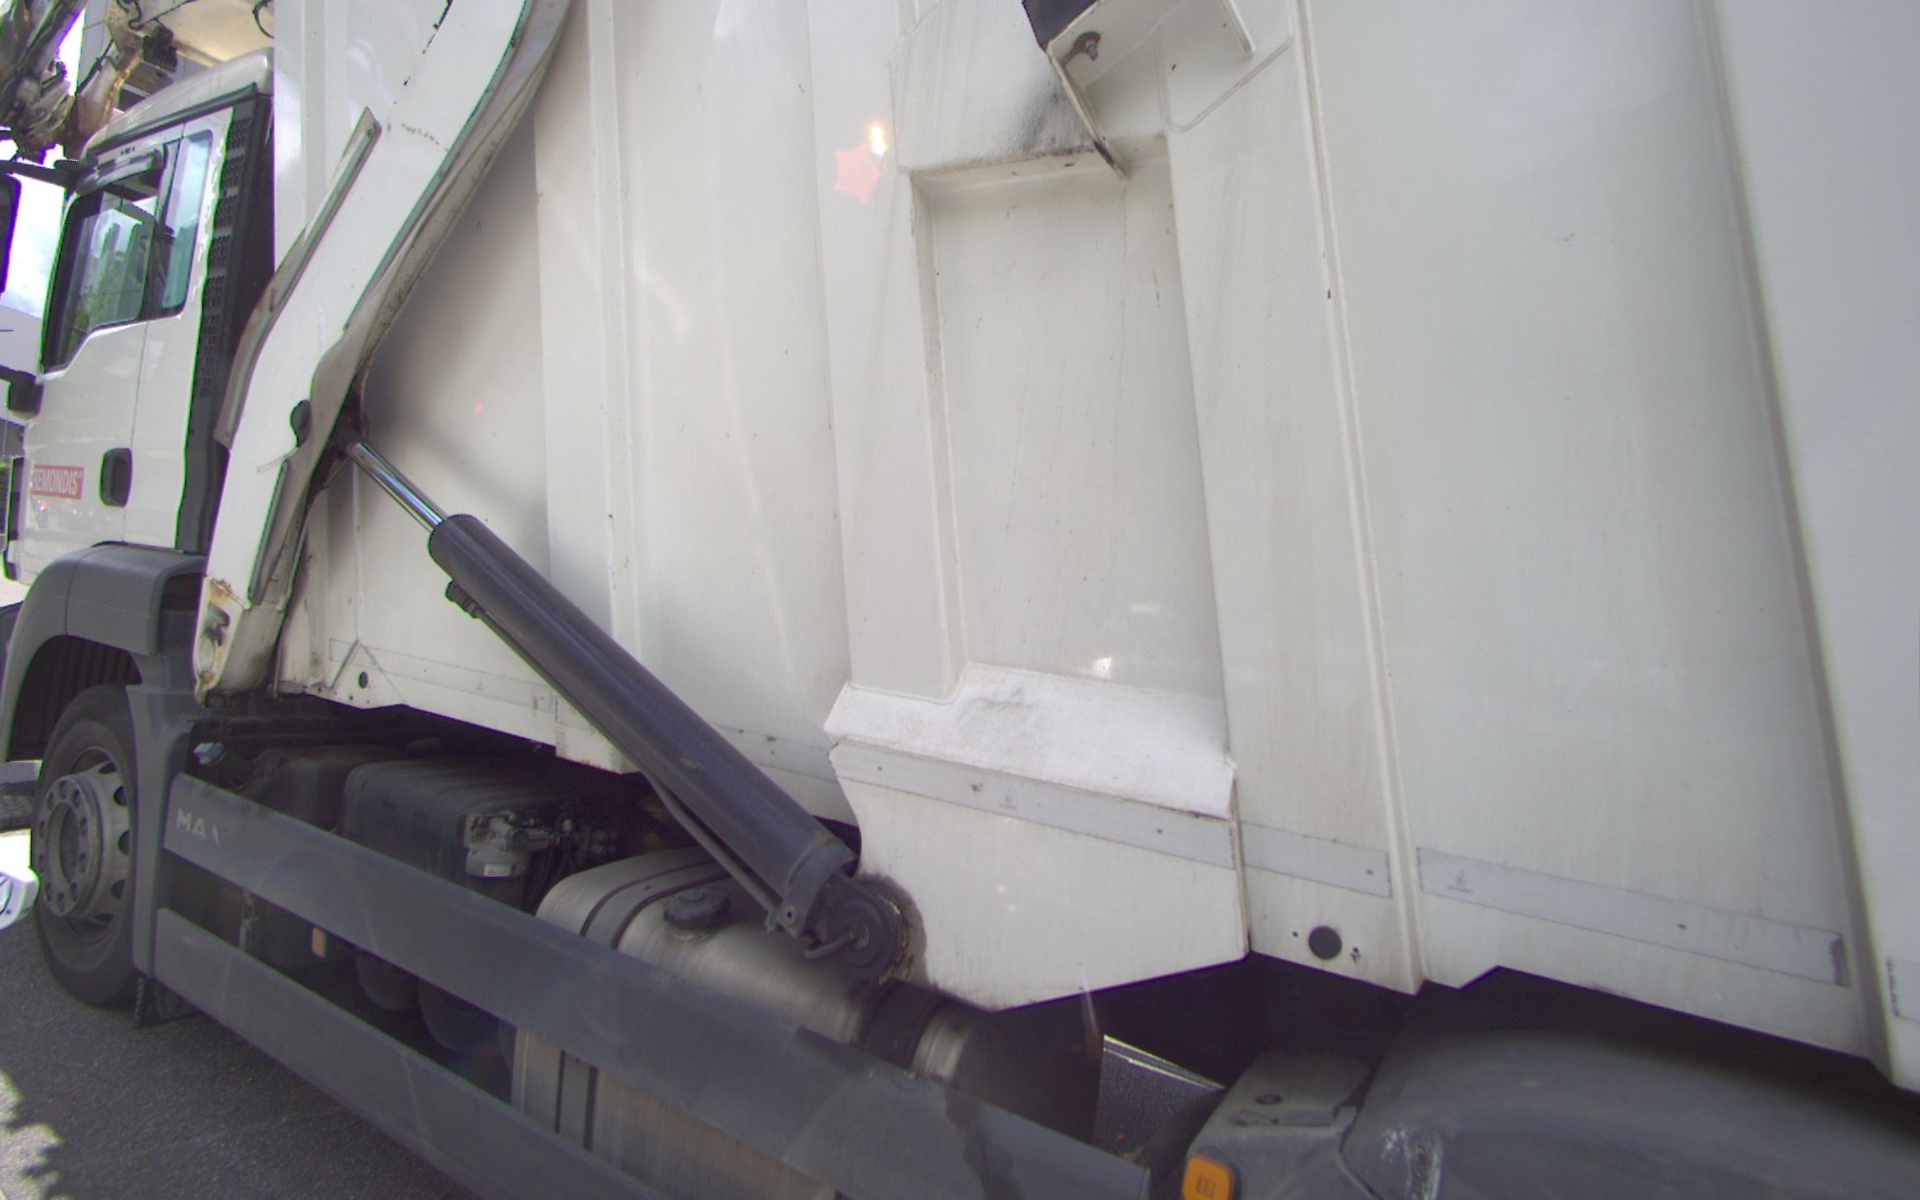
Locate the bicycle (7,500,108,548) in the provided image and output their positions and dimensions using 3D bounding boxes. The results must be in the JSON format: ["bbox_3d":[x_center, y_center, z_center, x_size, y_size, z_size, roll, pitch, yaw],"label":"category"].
[{"bbox_3d":[-27.968,-2.334,31.205,2.197,1.099,0.474,8,-1,-23],"label":"bicycle"}]

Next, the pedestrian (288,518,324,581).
[{"bbox_3d":[-19.774,-1.525,30.421,0.707,1.818,0.635,3,4,-43],"label":"pedestrian"}]

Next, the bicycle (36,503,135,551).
[{"bbox_3d":[-27.023,-2.237,31.129,2.166,1.099,0.474,8,-1,-23],"label":"bicycle"}]

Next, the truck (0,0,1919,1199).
[{"bbox_3d":[1.101,-0.337,2.182,10.003,3.958,2.494,6,-1,31],"label":"truck"}]

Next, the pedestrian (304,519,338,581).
[{"bbox_3d":[-19.921,-1.556,31.350,0.706,1.818,0.685,4,4,-42],"label":"pedestrian"}]

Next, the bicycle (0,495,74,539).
[{"bbox_3d":[-29.303,-2.640,31.490,2.197,1.099,0.474,8,-1,-23],"label":"bicycle"}]
